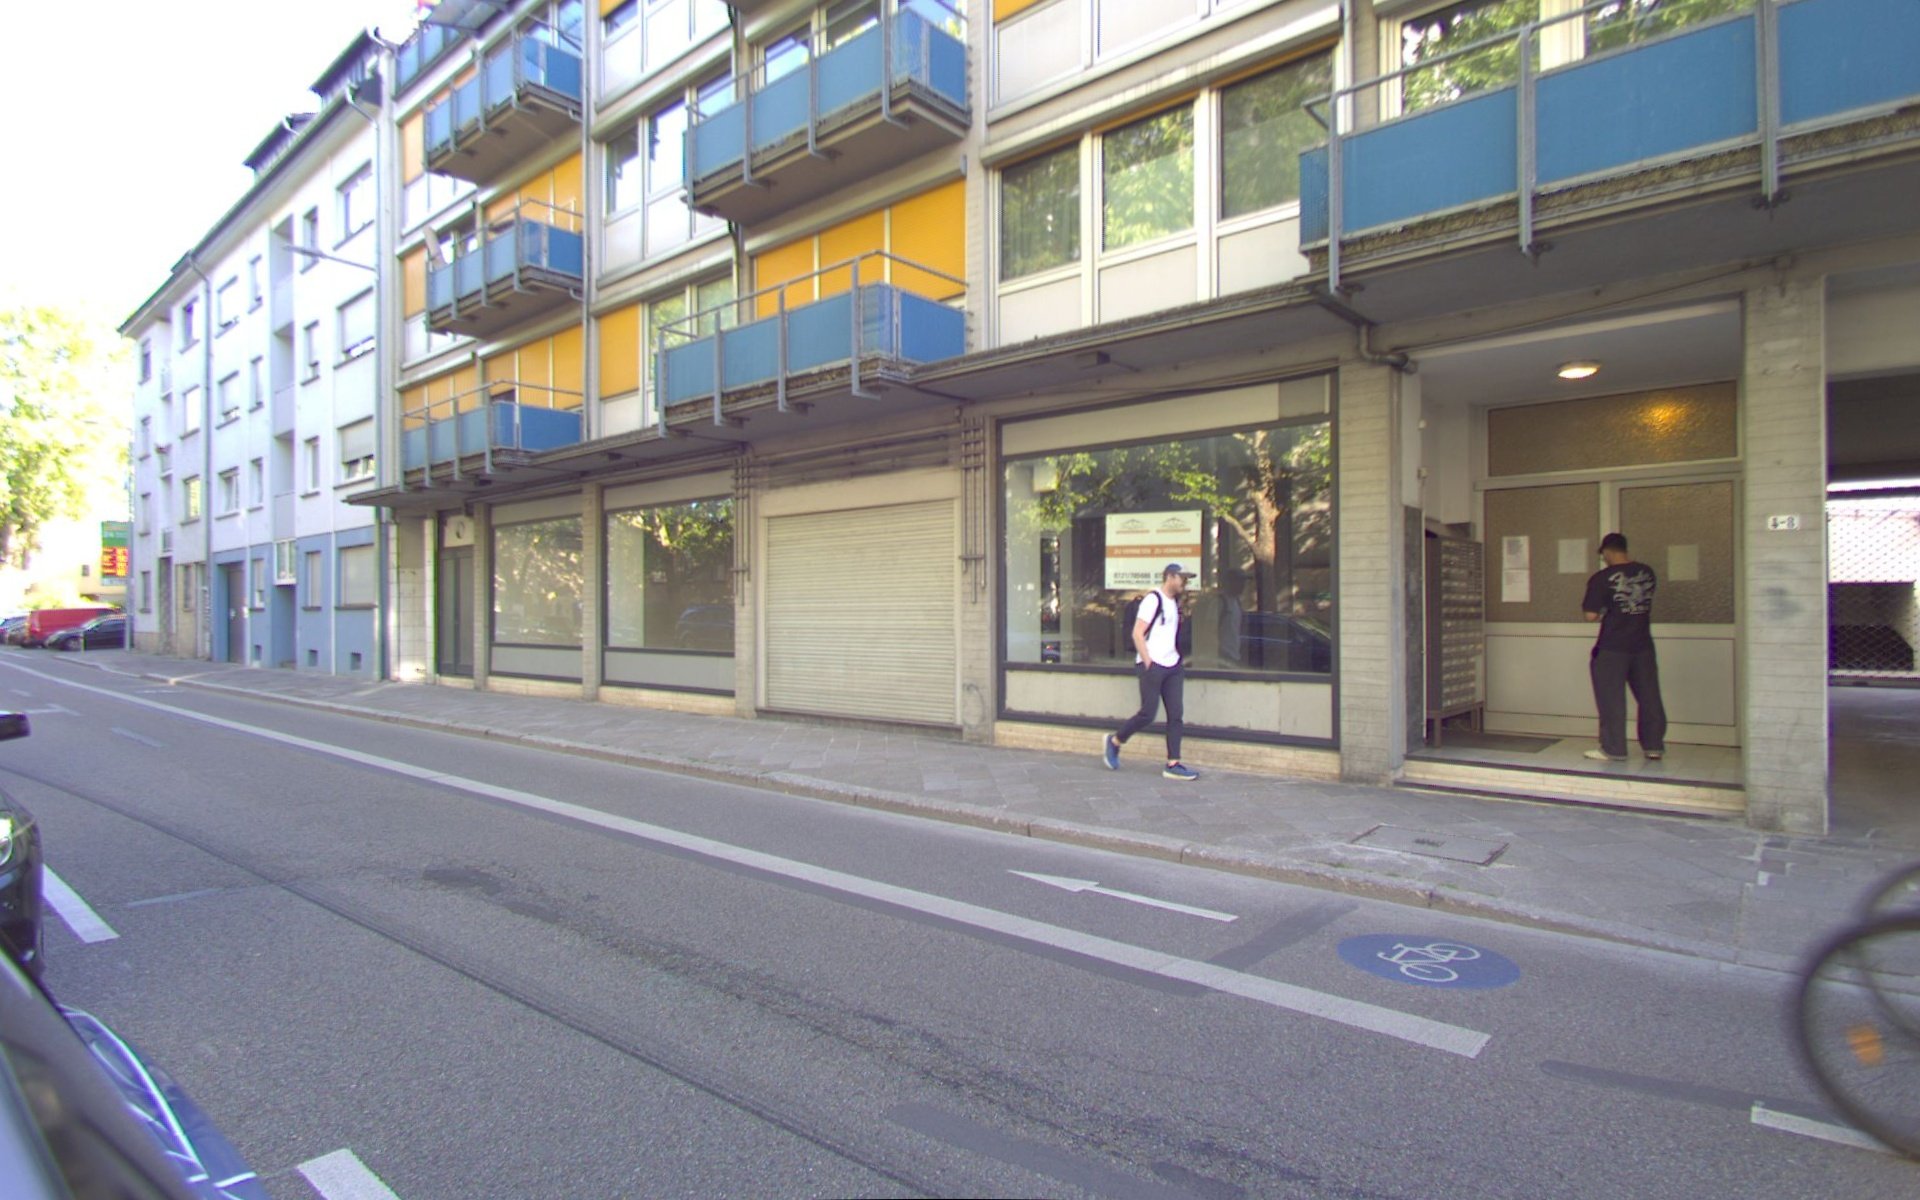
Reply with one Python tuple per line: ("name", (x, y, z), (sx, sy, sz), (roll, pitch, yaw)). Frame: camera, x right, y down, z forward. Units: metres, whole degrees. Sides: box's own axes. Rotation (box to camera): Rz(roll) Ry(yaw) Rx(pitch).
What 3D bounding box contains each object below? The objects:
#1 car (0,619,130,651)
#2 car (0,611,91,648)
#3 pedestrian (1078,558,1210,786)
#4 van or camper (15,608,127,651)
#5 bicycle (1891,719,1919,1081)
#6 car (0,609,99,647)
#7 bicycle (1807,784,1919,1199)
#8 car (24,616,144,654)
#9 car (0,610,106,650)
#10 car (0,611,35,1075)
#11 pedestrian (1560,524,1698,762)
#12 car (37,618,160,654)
("car", (-45.725, 1.750, 51.704), (1.999, 1.506, 4.927), (-1, -1, 41))
("car", (-57.400, 1.822, 62.863), (1.999, 2.210, 4.927), (-1, -1, 41))
("pedestrian", (1.553, 0.573, 8.559), (0.879, 1.813, 0.593), (-1, 0, 41))
("van or camper", (-43.893, 1.430, 50.012), (1.999, 2.029, 3.946), (-1, -1, 40))
("bicycle", (3.969, 0.984, 2.903), (0.852, 1.087, 1.838), (0, -1, -43))
("car", (-55.406, 1.671, 61.154), (1.999, 2.210, 4.927), (-1, -1, 41))
("bicycle", (3.125, 1.025, 2.211), (0.685, 0.936, 1.865), (0, -1, -42))
("car", (-41.637, 1.619, 48.170), (1.999, 1.703, 4.093), (-1, -1, 41))
("car", (-53.319, 1.736, 59.203), (1.999, 2.210, 4.927), (-1, -1, 41))
("car", (-5.014, 0.802, 3.866), (3.861, 1.467, 1.718), (-1, -1, 40))
("pedestrian", (5.080, 0.311, 7.704), (0.650, 1.726, 0.550), (0, -1, -16))
("car", (-39.756, 1.631, 46.785), (1.999, 1.506, 4.093), (-1, -1, 41))
